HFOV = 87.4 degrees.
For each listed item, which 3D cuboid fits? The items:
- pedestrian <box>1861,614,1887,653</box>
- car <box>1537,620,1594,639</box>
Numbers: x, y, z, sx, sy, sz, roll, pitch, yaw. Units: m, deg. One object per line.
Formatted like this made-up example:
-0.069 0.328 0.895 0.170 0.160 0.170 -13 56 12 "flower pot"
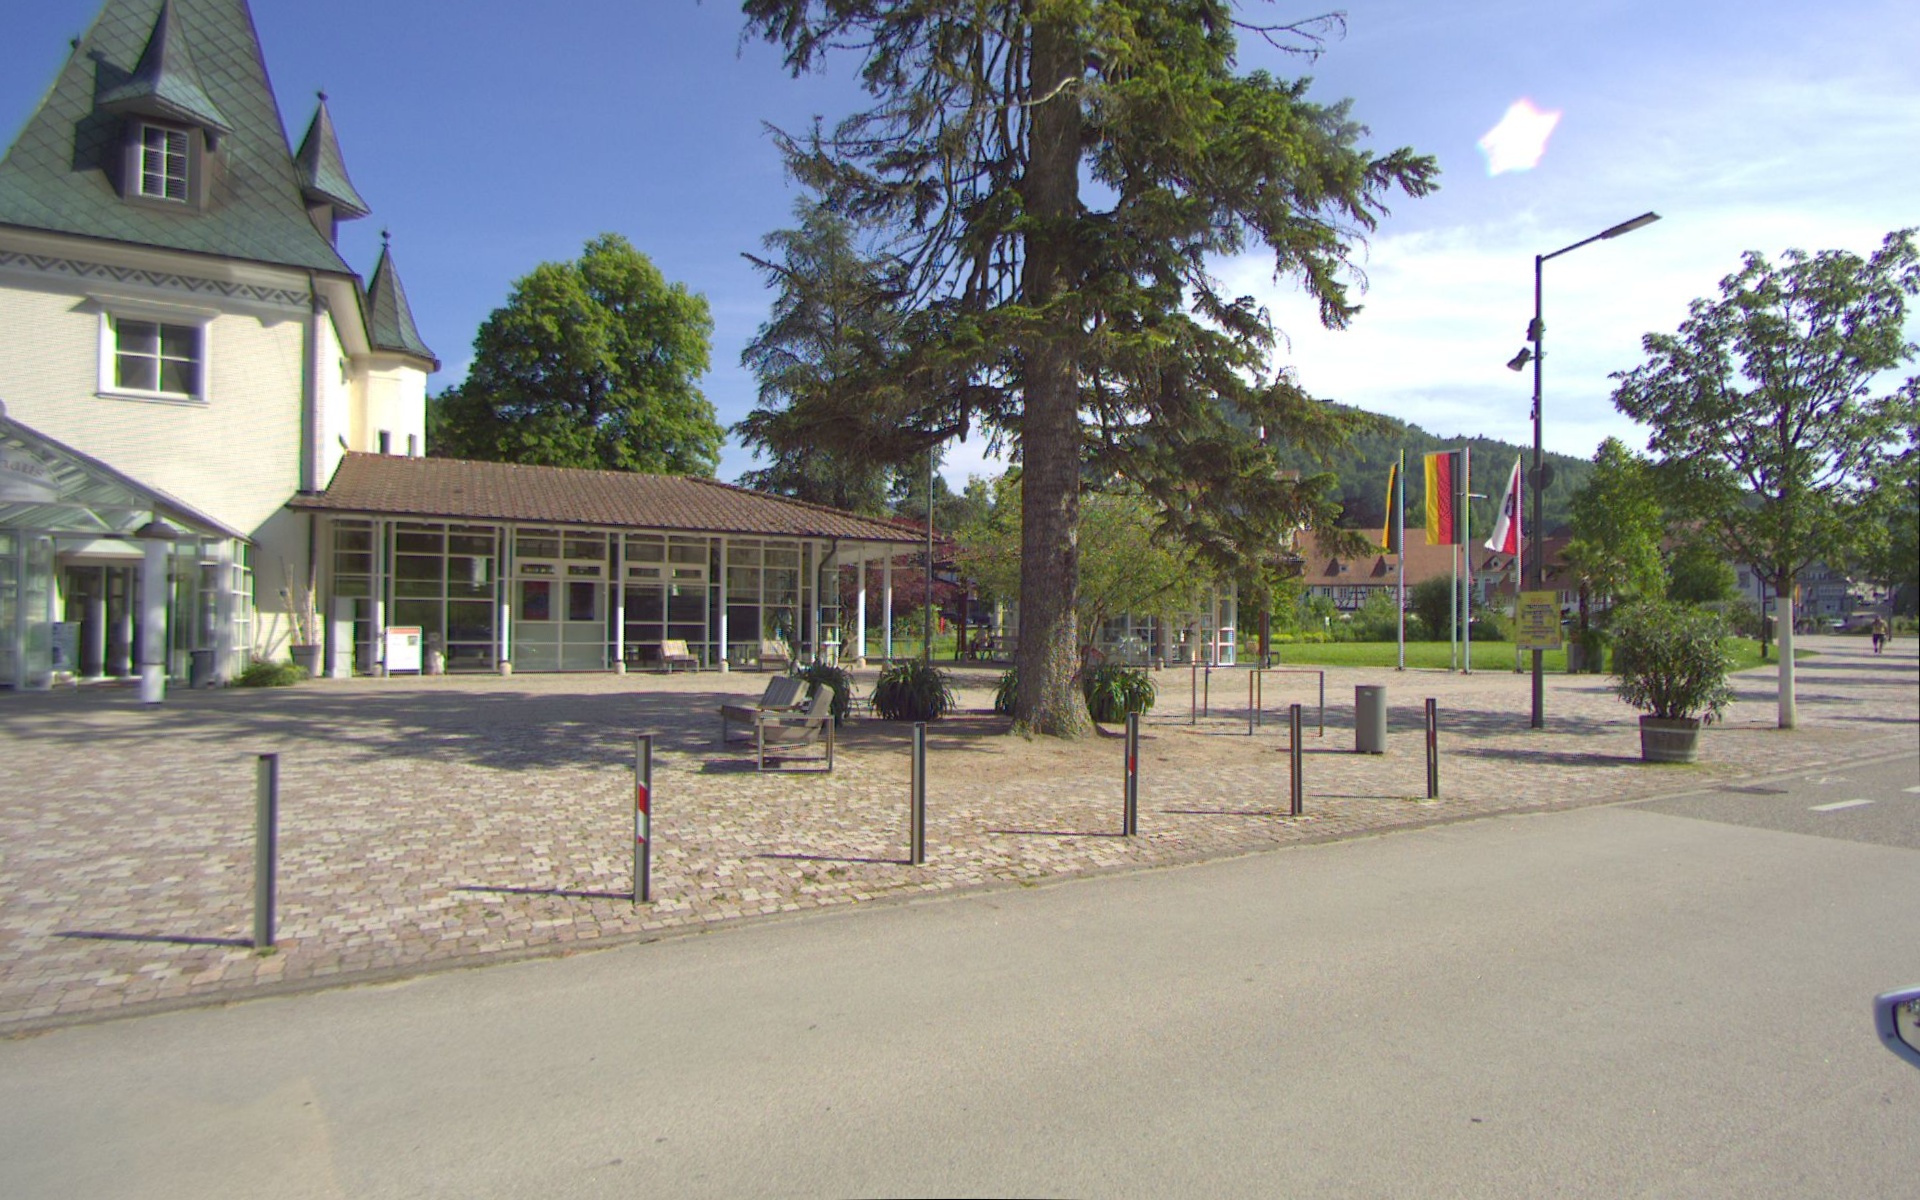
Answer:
44.316 1.622 48.725 0.855 1.839 0.689 0 -1 35 "pedestrian"
53.385 2.598 88.644 4.101 1.638 1.690 0 -1 22 "car"
